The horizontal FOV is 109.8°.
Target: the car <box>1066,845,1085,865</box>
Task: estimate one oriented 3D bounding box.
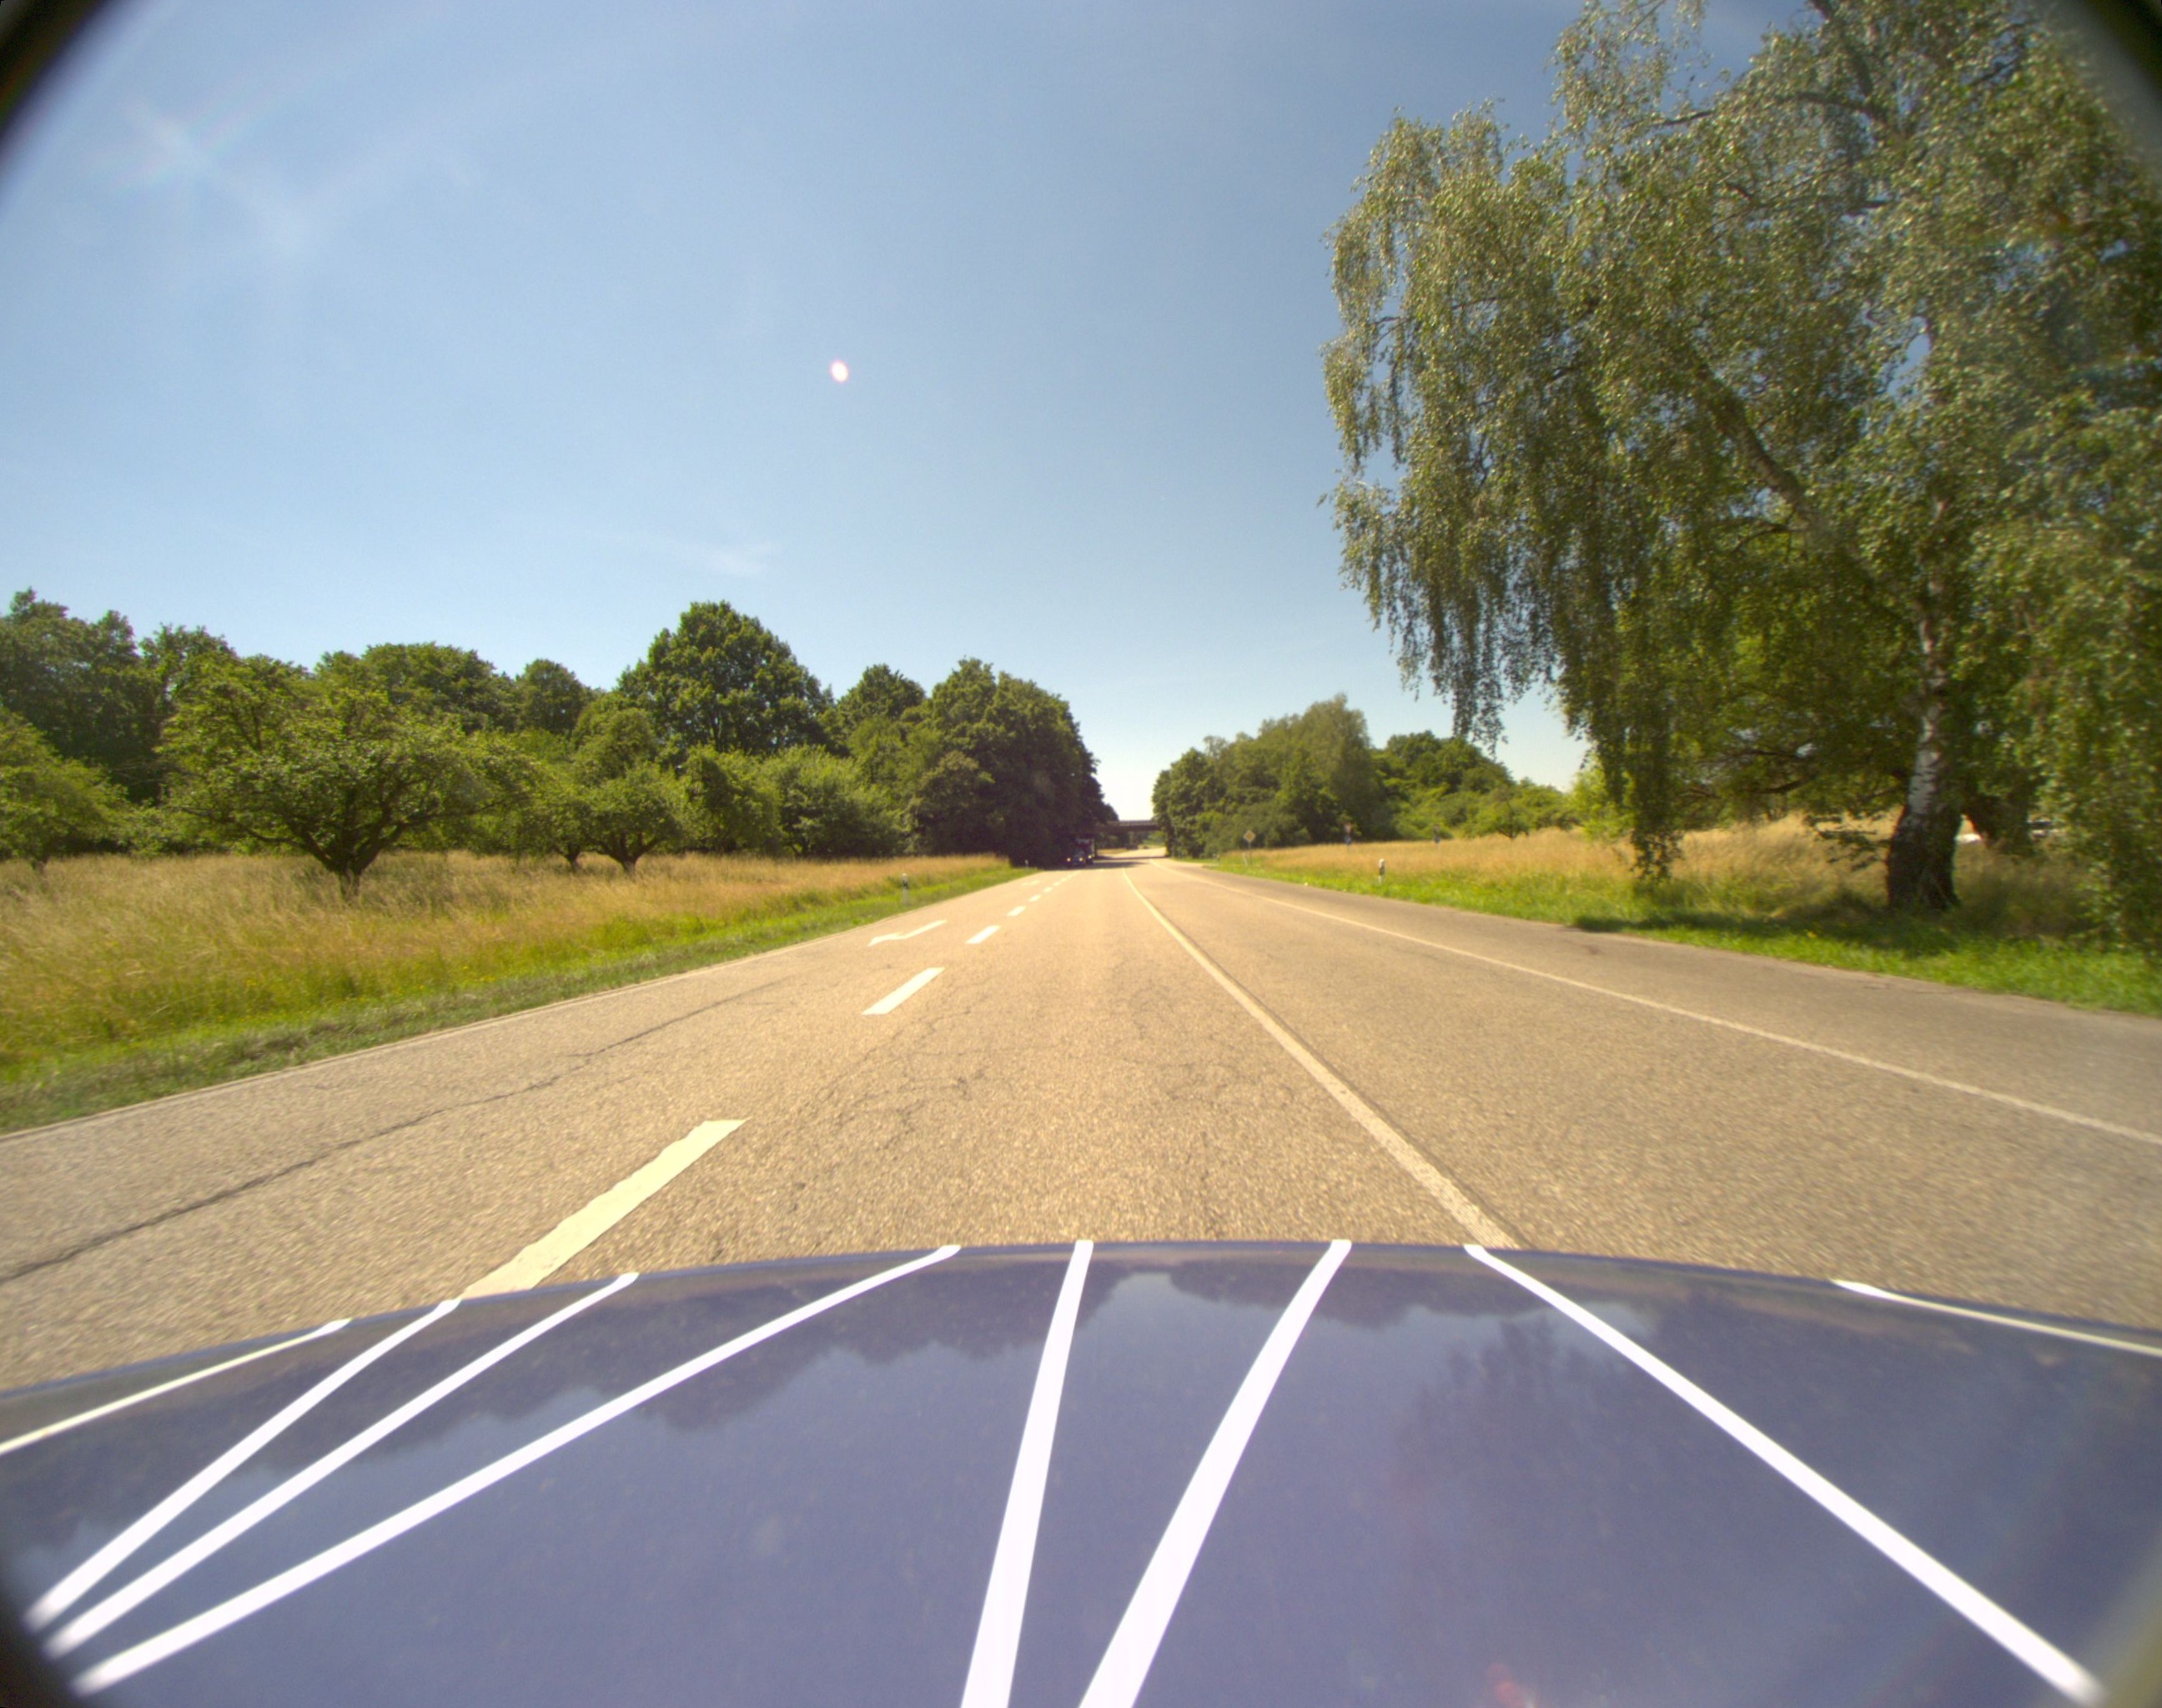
[{"bbox_3d":[-0.513,0.091,75.701,1.746,1.833,4.000,-2,1,2],"label":"car"}]

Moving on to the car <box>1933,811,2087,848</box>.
[{"bbox_3d":[40.967,-1.067,33.646,3.989,1.458,1.667,-1,1,33],"label":"car"}]

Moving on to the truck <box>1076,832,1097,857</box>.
[{"bbox_3d":[0.729,-1.238,97.565,2.457,2.927,6.973,-2,1,2],"label":"truck"}]
